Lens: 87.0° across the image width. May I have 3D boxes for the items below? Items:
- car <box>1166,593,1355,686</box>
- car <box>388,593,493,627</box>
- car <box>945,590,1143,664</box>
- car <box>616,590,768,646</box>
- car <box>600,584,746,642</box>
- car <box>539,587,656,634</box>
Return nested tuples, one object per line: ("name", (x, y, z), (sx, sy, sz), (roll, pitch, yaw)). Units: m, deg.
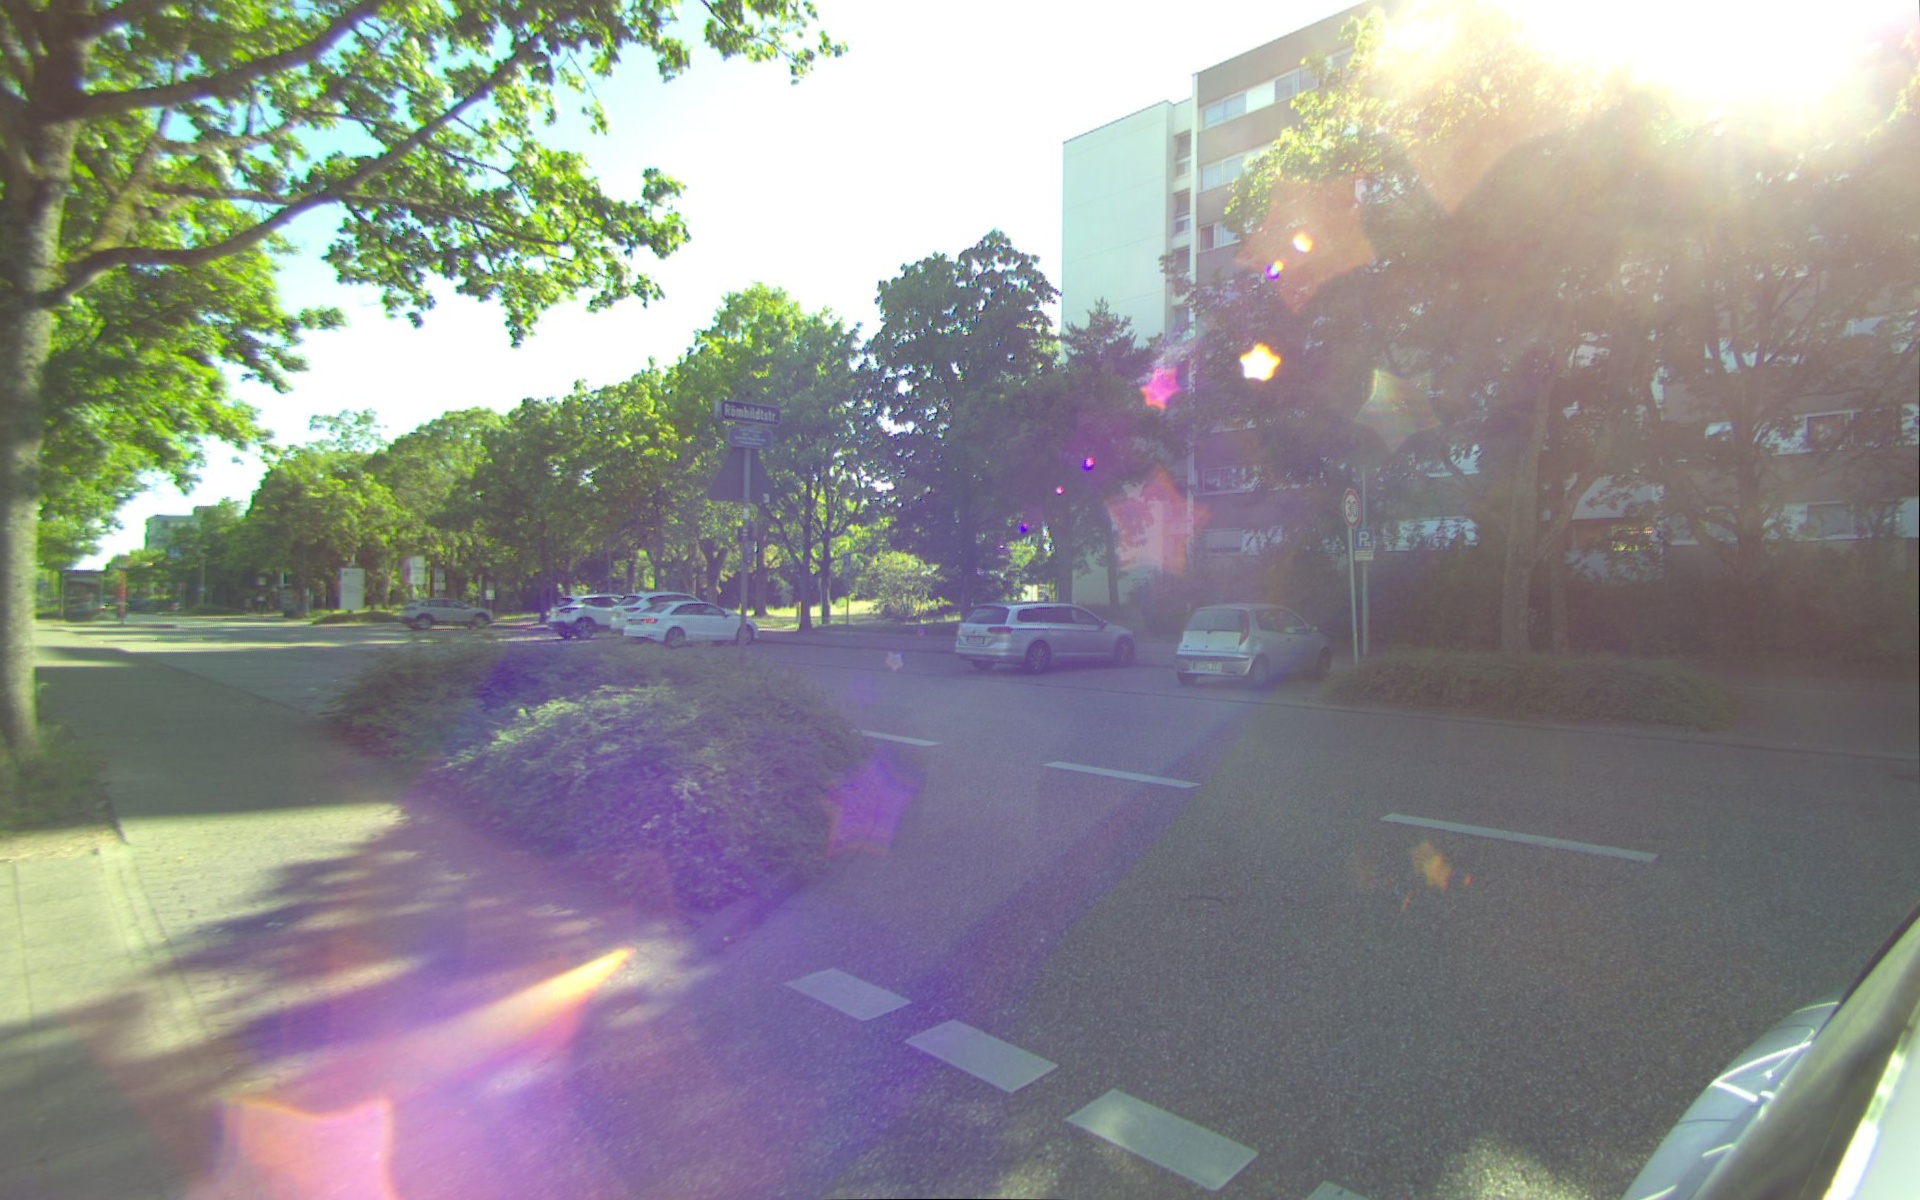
("car", (5.660, 0.646, 18.807), (3.935, 1.469, 1.712), (-2, 1, -45))
("car", (-25.031, 0.455, 48.859), (1.994, 1.446, 4.111), (0, 2, 45))
("car", (1.872, 0.556, 21.794), (4.212, 1.446, 1.825), (1, -1, -40))
("car", (-8.225, 0.504, 31.303), (1.732, 1.508, 4.290), (0, 2, 43))
("car", (-9.525, 0.372, 33.813), (1.810, 1.668, 4.381), (1, 2, 43))
("car", (-13.135, 0.336, 36.796), (1.645, 1.541, 3.644), (1, 2, 43))
